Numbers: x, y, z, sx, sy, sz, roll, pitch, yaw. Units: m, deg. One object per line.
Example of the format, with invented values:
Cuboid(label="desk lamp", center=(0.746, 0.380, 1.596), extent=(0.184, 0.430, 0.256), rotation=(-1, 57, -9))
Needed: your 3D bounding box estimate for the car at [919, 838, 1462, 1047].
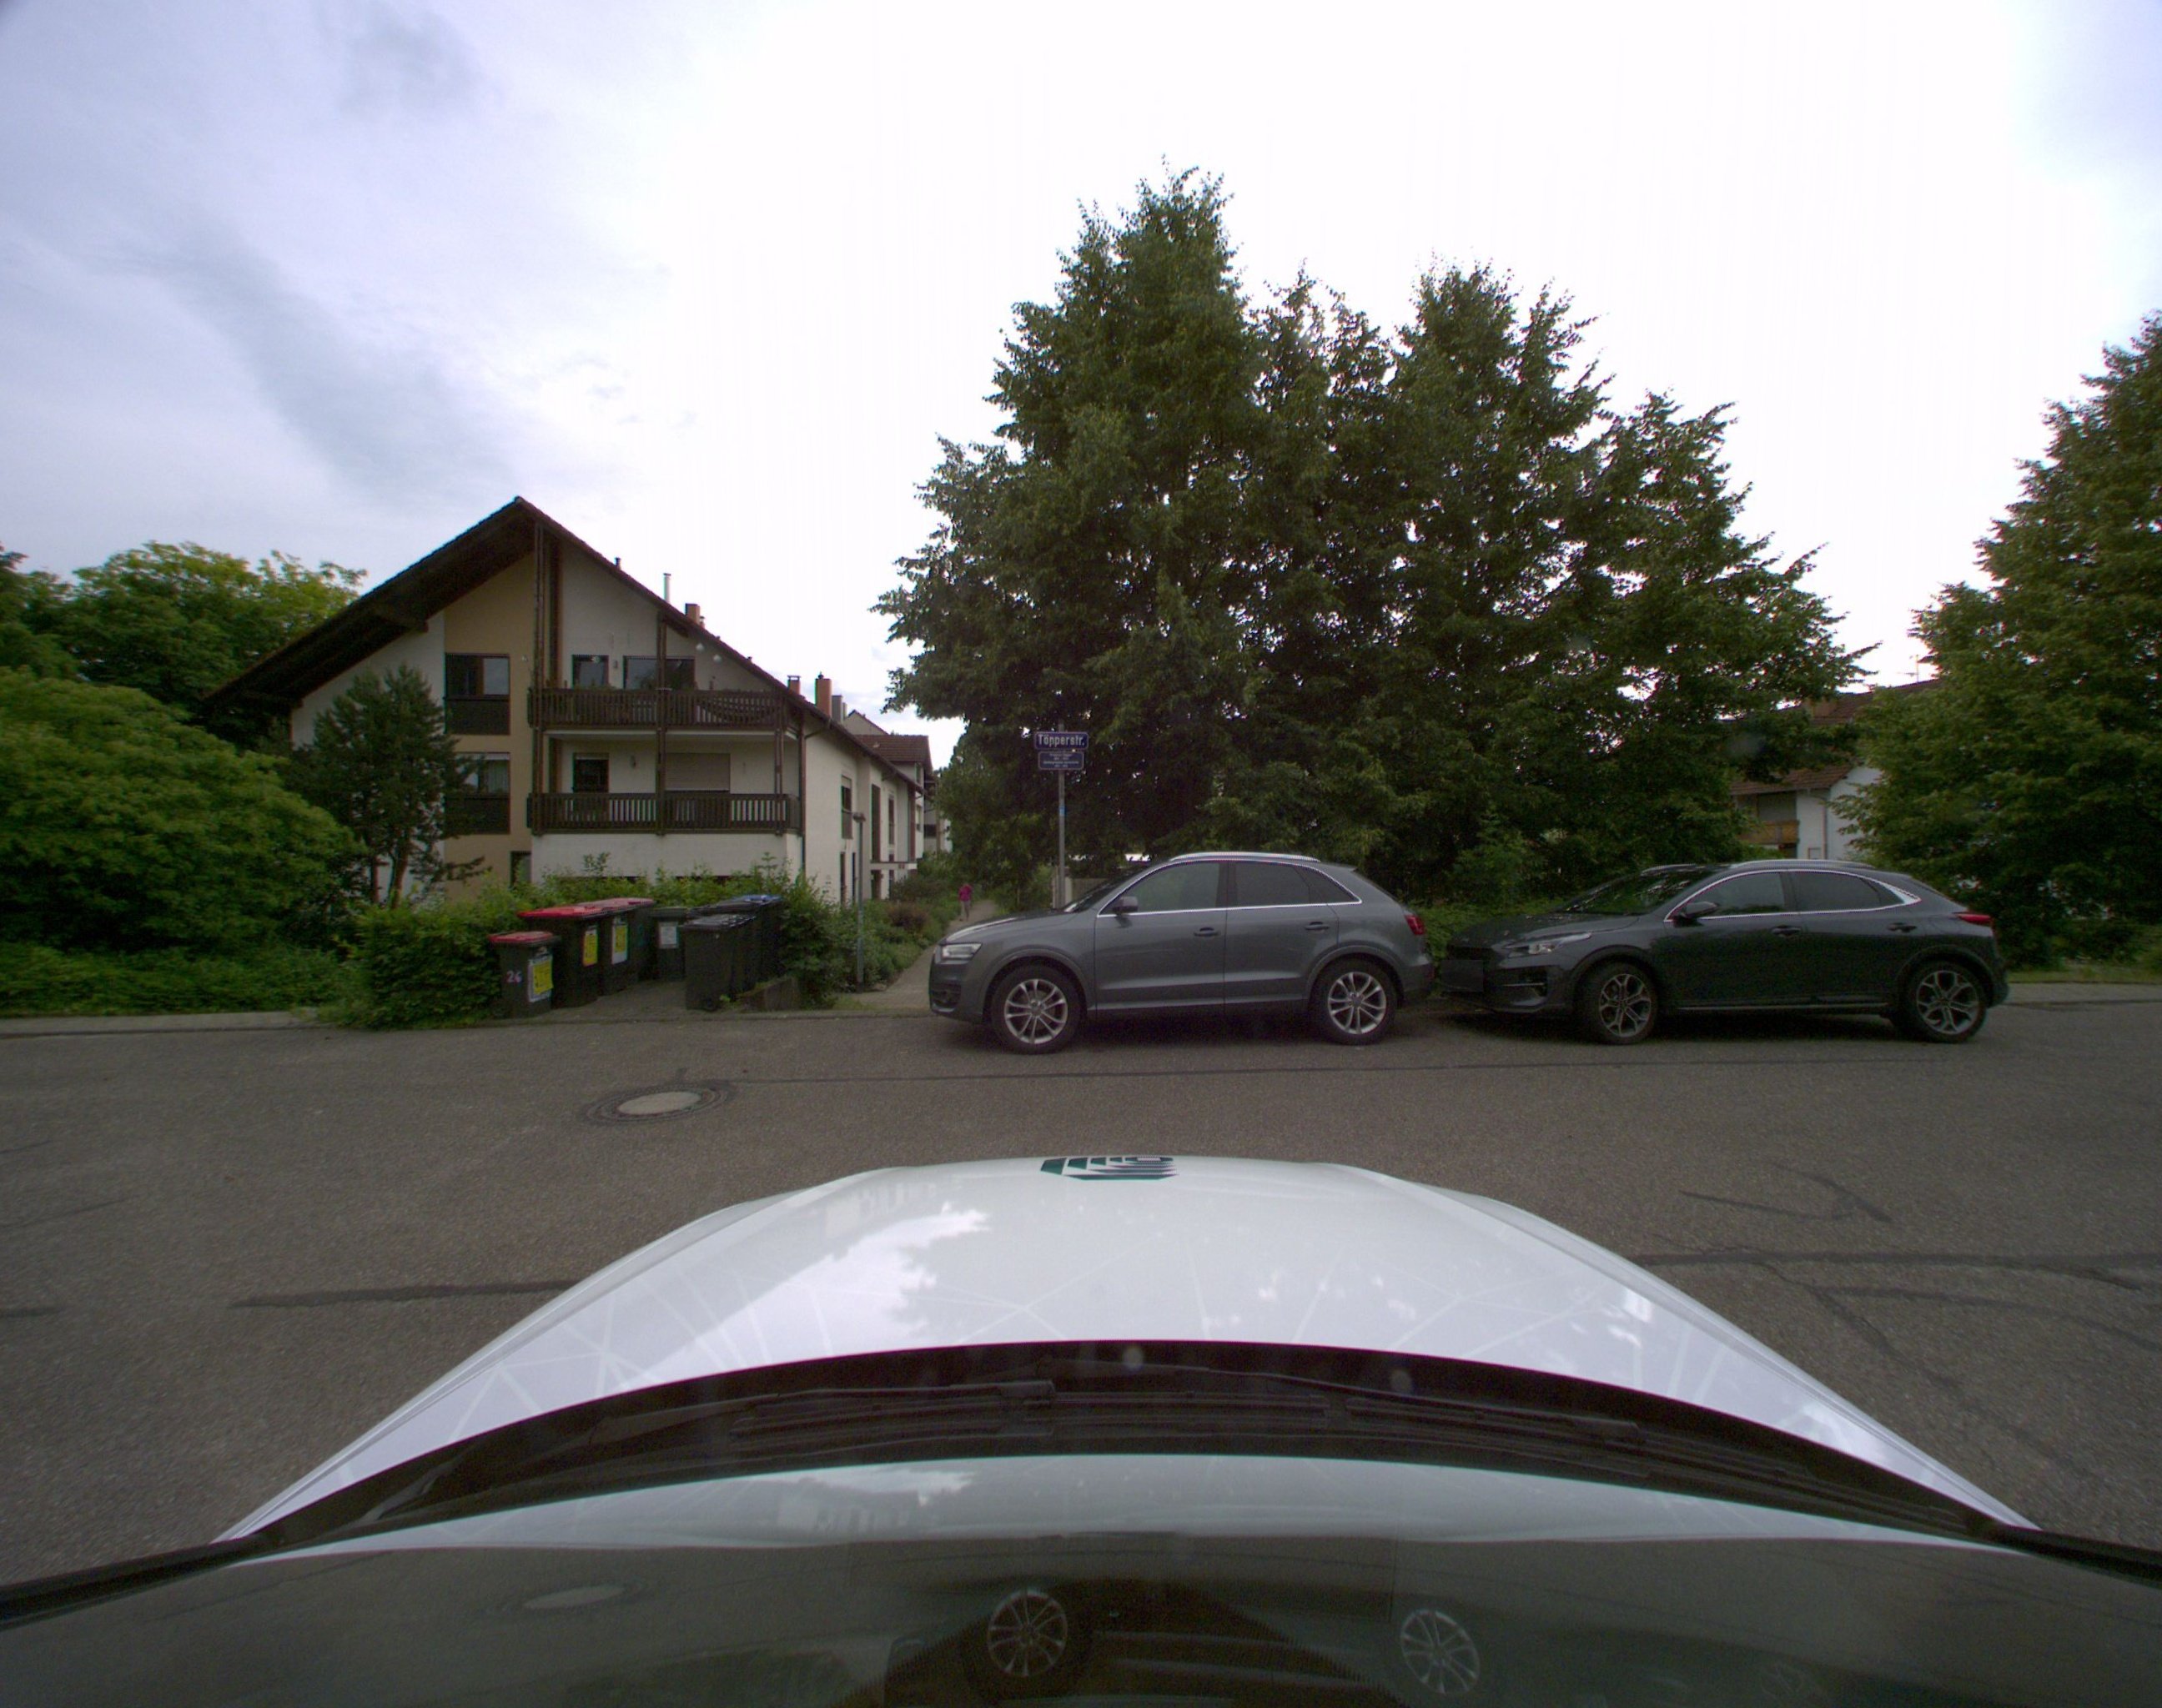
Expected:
Cuboid(label="car", center=(0.832, 0.680, 7.120), extent=(4.231, 1.531, 1.744), rotation=(0, -2, -6))

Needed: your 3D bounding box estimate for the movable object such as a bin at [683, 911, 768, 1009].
Cuboid(label="movable object such as a bin", center=(-3.807, 1.117, 8.769), extent=(0.637, 0.953, 0.721), rotation=(1, -1, -6))

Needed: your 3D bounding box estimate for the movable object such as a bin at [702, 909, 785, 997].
Cuboid(label="movable object such as a bin", center=(-3.909, 1.136, 9.480), extent=(0.732, 0.953, 0.583), rotation=(1, -1, -5))

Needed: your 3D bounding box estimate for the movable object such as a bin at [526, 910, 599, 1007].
Cuboid(label="movable object such as a bin", center=(-5.584, 1.111, 8.780), extent=(0.537, 0.994, 0.378), rotation=(1, -1, -8))

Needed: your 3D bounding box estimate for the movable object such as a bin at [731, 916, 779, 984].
Cuboid(label="movable object such as a bin", center=(-4.064, 1.186, 10.162), extent=(0.458, 0.797, 0.378), rotation=(1, -1, -6))

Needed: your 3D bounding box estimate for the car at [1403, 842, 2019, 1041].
Cuboid(label="car", center=(5.314, 0.715, 7.295), extent=(4.168, 1.531, 1.746), rotation=(0, -2, -1))

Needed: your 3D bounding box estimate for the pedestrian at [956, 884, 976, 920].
Cuboid(label="pedestrian", center=(-4.985, 2.078, 35.343), extent=(0.814, 1.517, 0.437), rotation=(-1, -1, -8))

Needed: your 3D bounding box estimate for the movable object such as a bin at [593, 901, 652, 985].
Cuboid(label="movable object such as a bin", center=(-5.661, 1.093, 10.068), extent=(0.537, 0.994, 0.337), rotation=(1, -1, -8))

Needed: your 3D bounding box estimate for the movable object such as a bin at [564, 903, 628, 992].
Cuboid(label="movable object such as a bin", center=(-5.653, 1.082, 9.508), extent=(0.537, 0.994, 0.337), rotation=(1, -1, -8))

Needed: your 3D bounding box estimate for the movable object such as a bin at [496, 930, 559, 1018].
Cuboid(label="movable object such as a bin", center=(-5.665, 1.218, 8.349), extent=(0.385, 0.836, 0.378), rotation=(1, -1, -7))

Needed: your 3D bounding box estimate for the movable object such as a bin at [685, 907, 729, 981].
Cuboid(label="movable object such as a bin", center=(-4.698, 1.124, 10.238), extent=(0.385, 0.890, 0.378), rotation=(1, -1, -7))

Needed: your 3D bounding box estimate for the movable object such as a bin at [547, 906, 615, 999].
Cuboid(label="movable object such as a bin", center=(-5.614, 1.097, 9.158), extent=(0.537, 0.994, 0.337), rotation=(1, -1, -8))

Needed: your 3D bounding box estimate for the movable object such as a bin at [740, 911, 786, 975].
Cuboid(label="movable object such as a bin", center=(-4.130, 1.148, 10.590), extent=(0.458, 0.797, 0.378), rotation=(1, -1, -6))

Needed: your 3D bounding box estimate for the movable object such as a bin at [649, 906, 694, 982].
Cuboid(label="movable object such as a bin", center=(-5.116, 1.112, 10.182), extent=(0.385, 0.901, 0.378), rotation=(1, -1, -7))
